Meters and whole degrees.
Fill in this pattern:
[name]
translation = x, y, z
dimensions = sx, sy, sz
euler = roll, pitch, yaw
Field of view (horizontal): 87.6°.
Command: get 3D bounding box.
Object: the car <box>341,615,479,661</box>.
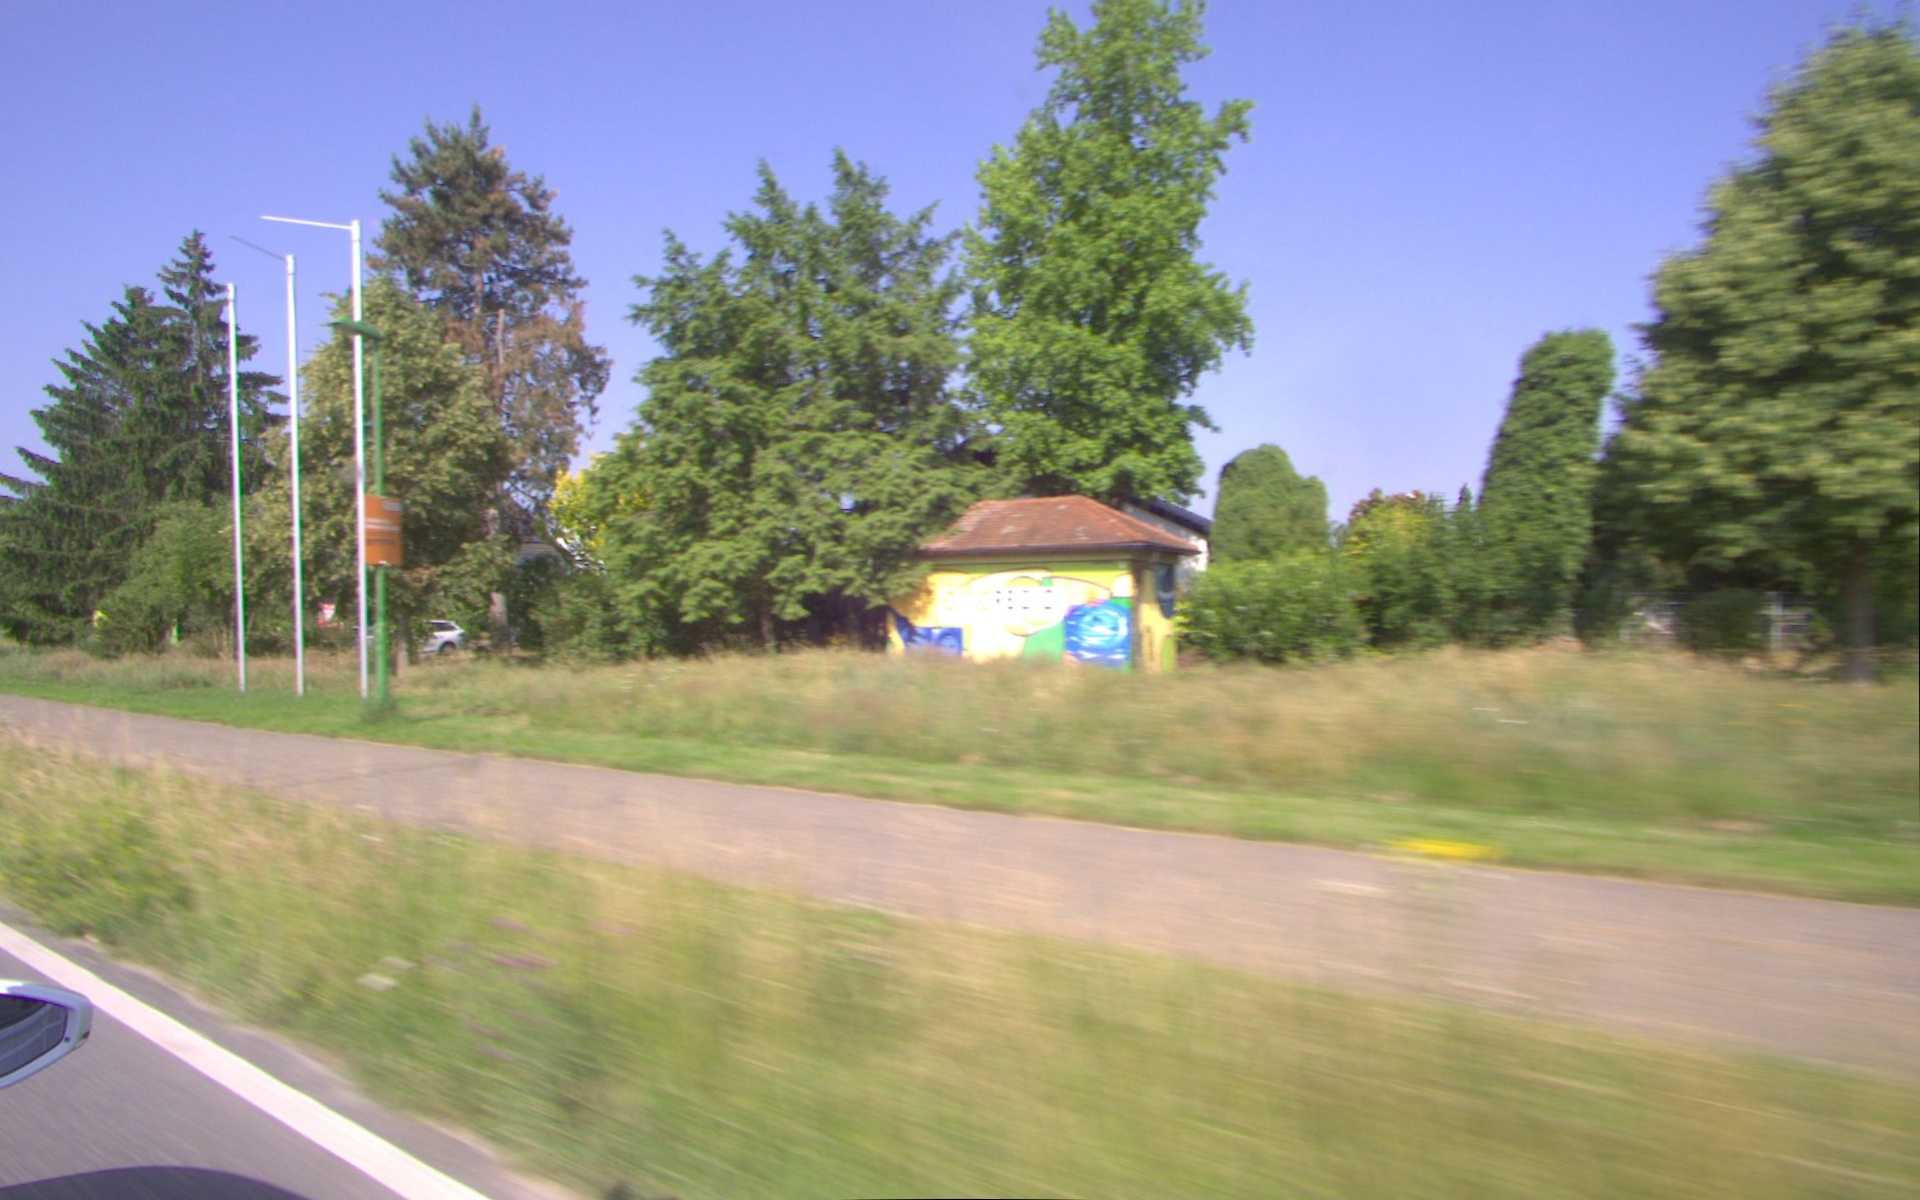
[car]
translation = -19.211, 1.289, 35.159
dimensions = 1.785, 1.453, 3.987
euler = 0, 0, 24
